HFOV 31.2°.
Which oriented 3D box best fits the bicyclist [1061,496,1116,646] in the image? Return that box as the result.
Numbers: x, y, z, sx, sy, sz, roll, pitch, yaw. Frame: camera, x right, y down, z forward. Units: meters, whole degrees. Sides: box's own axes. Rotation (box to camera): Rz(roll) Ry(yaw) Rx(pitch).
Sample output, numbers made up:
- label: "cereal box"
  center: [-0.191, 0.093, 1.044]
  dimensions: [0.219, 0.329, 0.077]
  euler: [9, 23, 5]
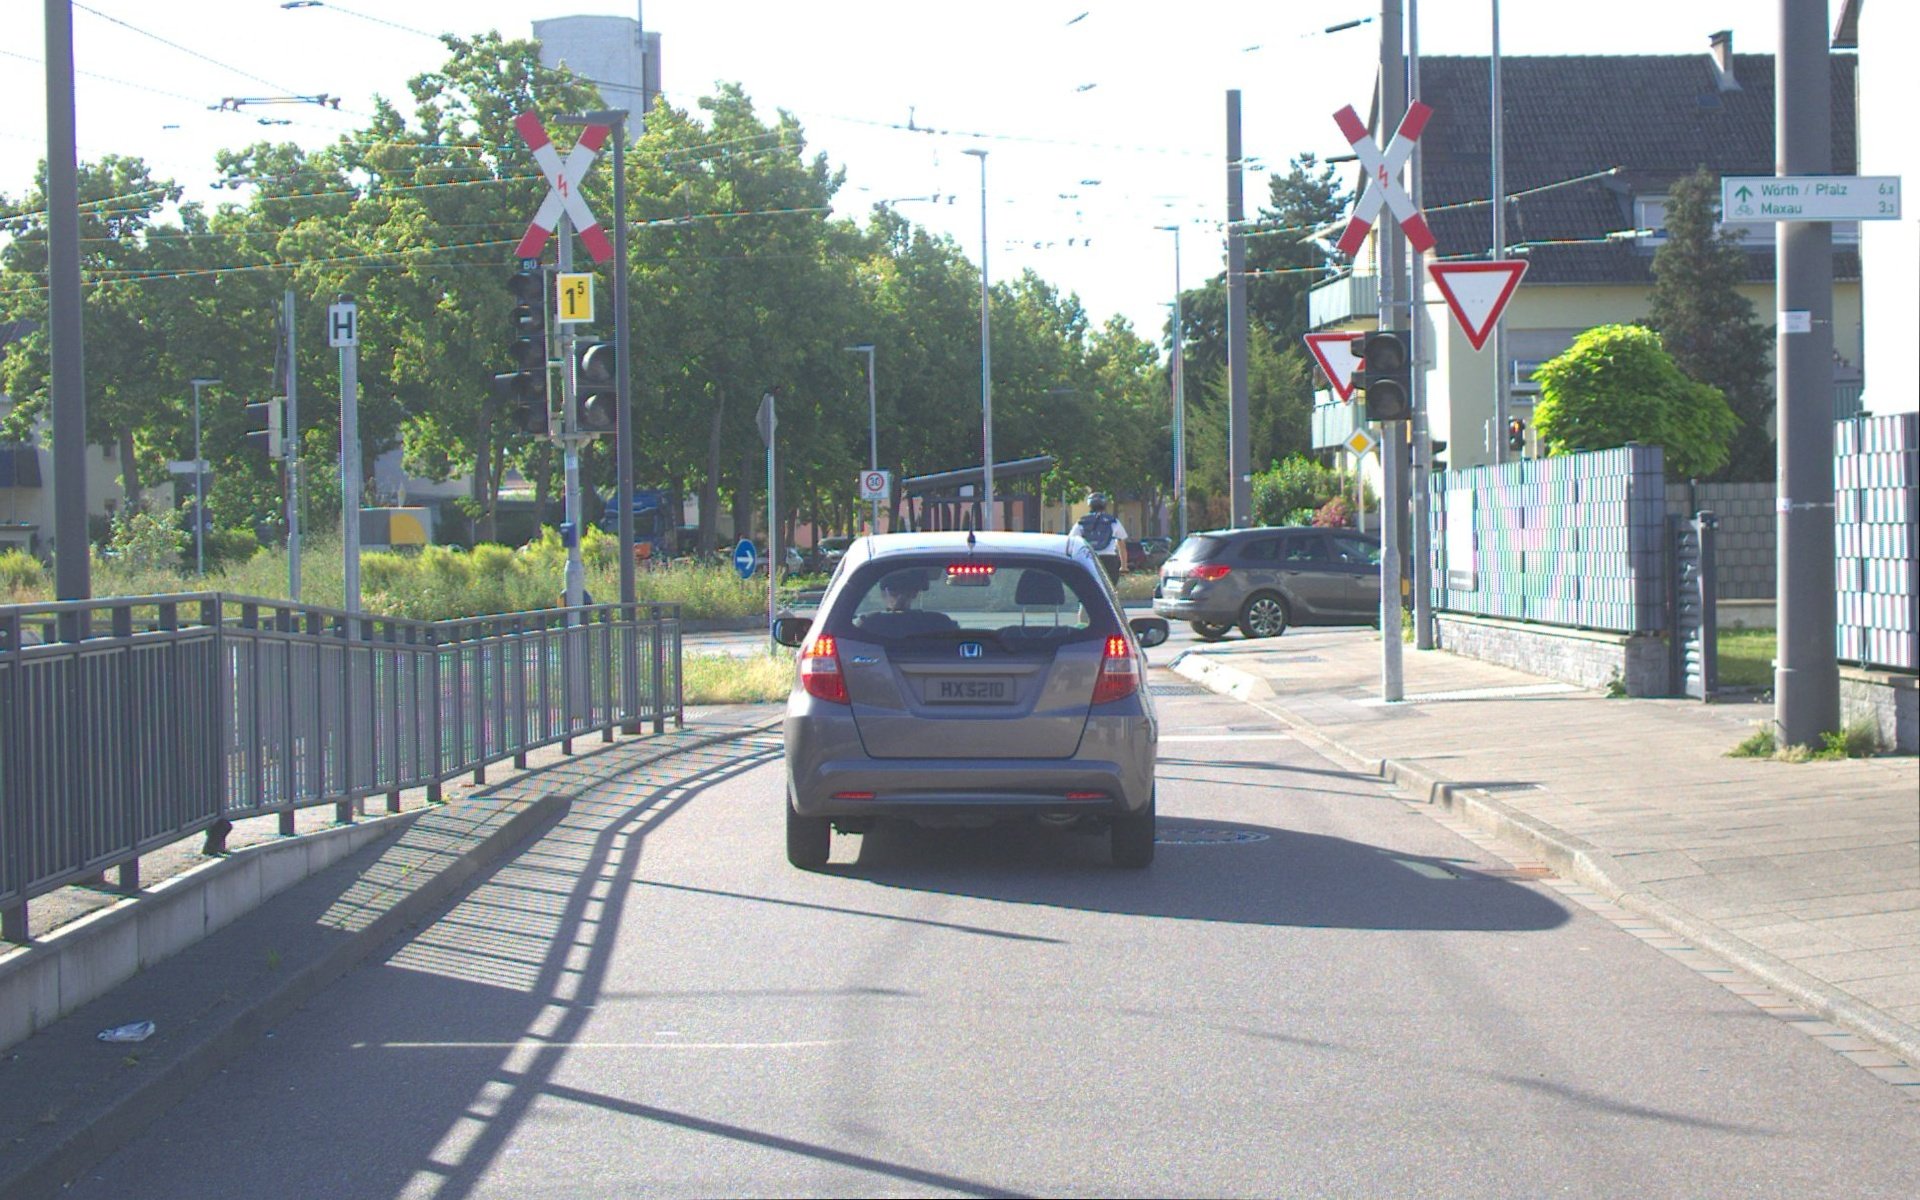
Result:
- label: "bicyclist"
  center: [1.466, -0.337, 39.298]
  dimensions: [0.598, 1.695, 0.683]
  euler: [0, 0, 0]

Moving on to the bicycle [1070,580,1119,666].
- label: "bicycle"
  center: [1.538, 0.249, 39.418]
  dimensions: [0.475, 0.958, 1.657]
  euler: [0, 0, 0]

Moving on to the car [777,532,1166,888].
- label: "car"
  center: [0.007, 0.445, 16.567]
  dimensions: [1.670, 1.530, 3.487]
  euler: [0, 1, -1]

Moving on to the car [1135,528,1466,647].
- label: "car"
  center: [4.519, -0.164, 45.760]
  dimensions: [3.986, 1.524, 1.808]
  euler: [0, 0, -20]
